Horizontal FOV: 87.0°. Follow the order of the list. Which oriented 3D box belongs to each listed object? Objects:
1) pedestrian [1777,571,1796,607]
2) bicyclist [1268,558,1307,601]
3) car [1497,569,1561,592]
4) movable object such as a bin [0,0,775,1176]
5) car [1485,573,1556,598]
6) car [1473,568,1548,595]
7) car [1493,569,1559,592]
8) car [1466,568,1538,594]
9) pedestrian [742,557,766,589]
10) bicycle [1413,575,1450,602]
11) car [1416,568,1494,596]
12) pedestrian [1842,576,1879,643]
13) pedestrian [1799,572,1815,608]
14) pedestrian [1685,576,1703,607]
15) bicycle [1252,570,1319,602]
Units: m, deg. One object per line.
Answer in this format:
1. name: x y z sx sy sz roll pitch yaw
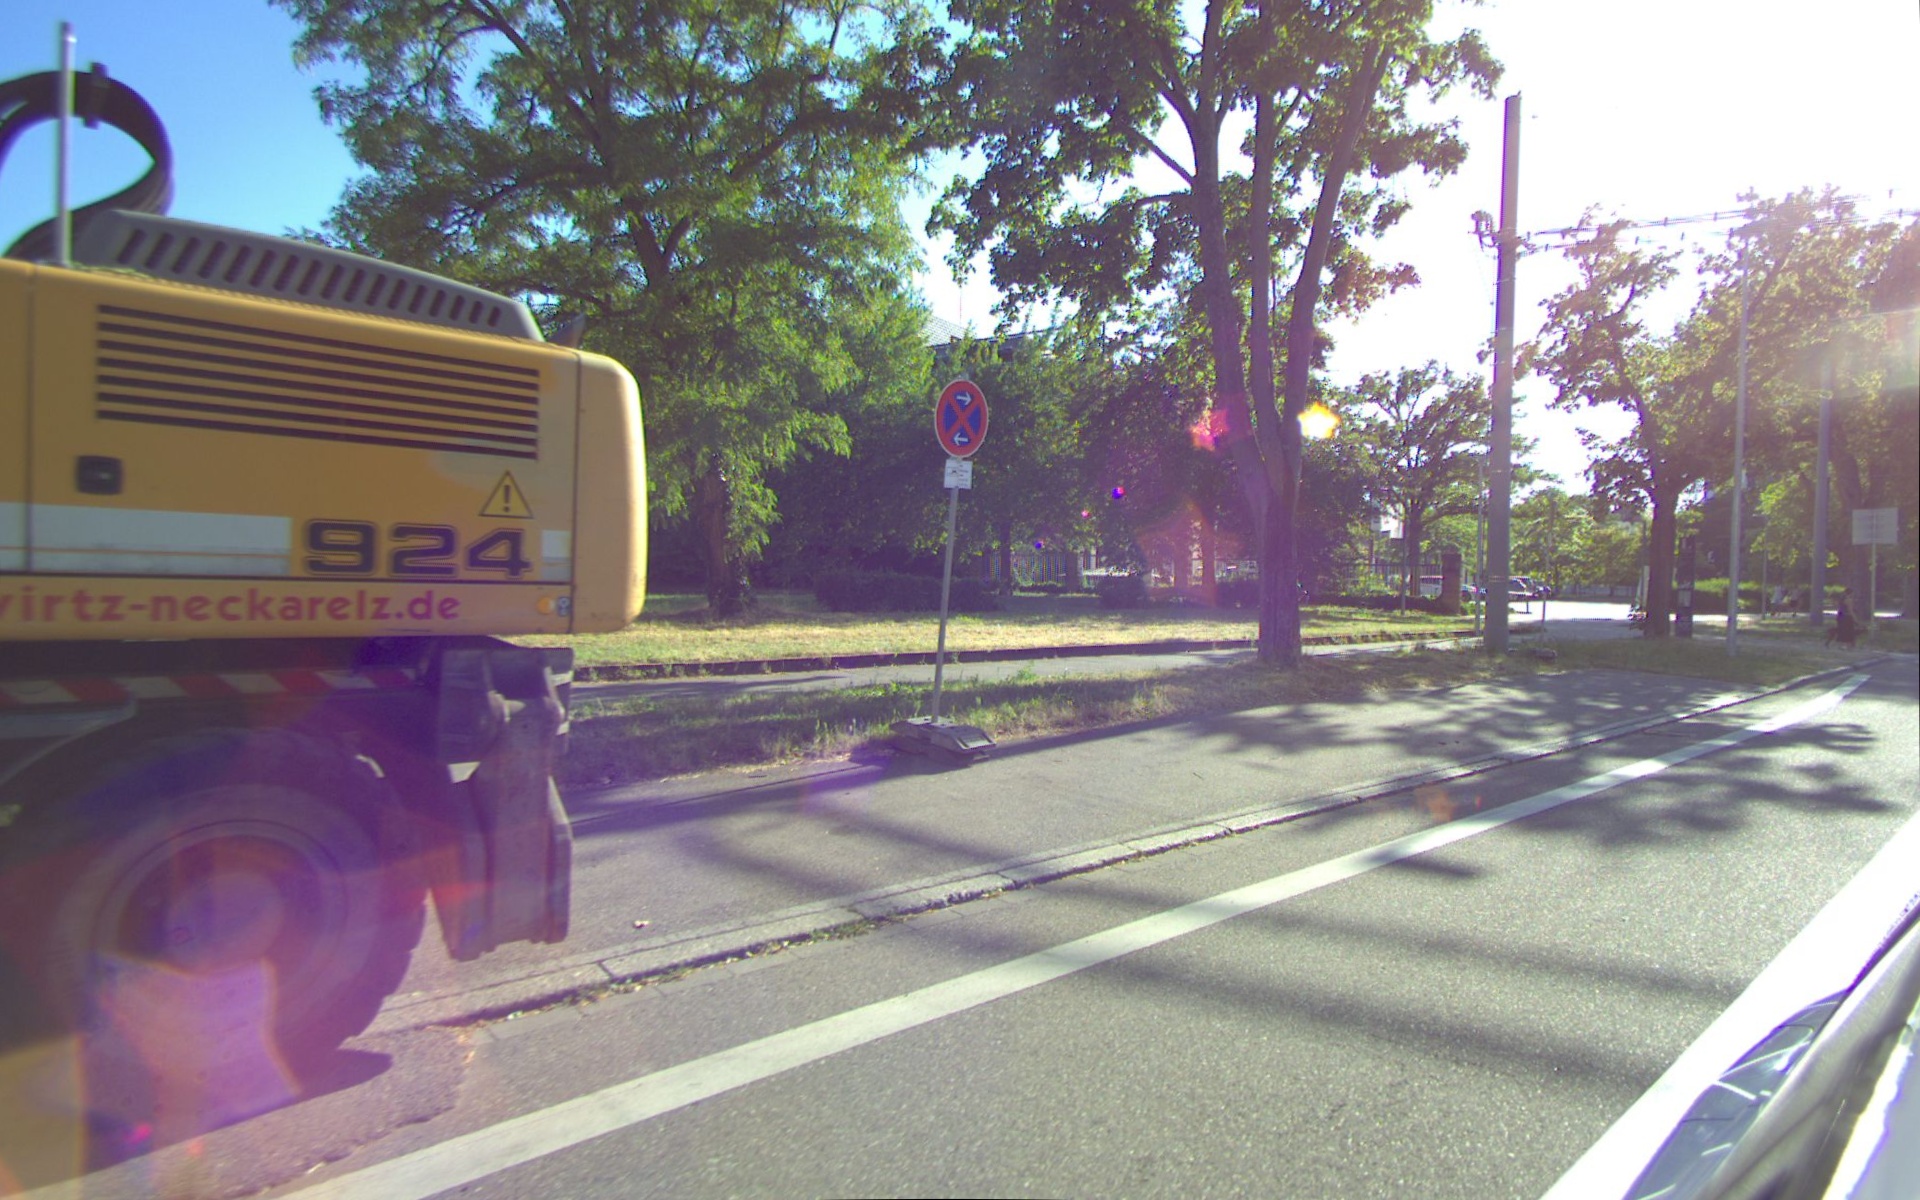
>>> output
1. pedestrian: 43.253 -0.569 52.943 0.555 1.864 0.645 0 2 -41
2. bicyclist: 12.228 -0.782 37.818 1.199 1.558 0.611 3 2 36
3. car: 45.086 -1.552 80.282 4.350 1.646 1.782 2 2 29
4. movable object such as a bin: -4.466 -1.015 2.354 7.467 4.665 2.920 0 4 -42
5. car: 40.229 -1.029 72.759 4.350 1.646 1.782 2 2 29
6. car: 37.062 -1.256 68.194 4.350 1.646 1.782 2 2 29
7. car: 43.519 -1.508 77.894 4.350 1.646 1.782 2 2 29
8. car: 38.017 -1.347 71.042 4.350 1.646 1.782 2 2 29
9. pedestrian: -11.490 -1.488 56.578 0.823 1.778 1.013 -1 0 40
10. bicycle: 24.993 -0.613 53.616 2.592 1.407 0.745 0 2 -42
11. car: 30.443 -1.121 62.294 4.119 1.529 1.780 3 2 32
12. pedestrian: 23.437 0.240 26.345 0.527 1.683 0.483 4 2 28
13. pedestrian: 43.722 -0.528 52.233 0.555 1.864 0.501 0 2 -42
14. pedestrian: 34.798 -0.422 48.004 0.504 1.460 0.549 0 2 -42
15. bicycle: 12.170 -0.538 37.865 2.277 1.069 0.611 3 2 36
